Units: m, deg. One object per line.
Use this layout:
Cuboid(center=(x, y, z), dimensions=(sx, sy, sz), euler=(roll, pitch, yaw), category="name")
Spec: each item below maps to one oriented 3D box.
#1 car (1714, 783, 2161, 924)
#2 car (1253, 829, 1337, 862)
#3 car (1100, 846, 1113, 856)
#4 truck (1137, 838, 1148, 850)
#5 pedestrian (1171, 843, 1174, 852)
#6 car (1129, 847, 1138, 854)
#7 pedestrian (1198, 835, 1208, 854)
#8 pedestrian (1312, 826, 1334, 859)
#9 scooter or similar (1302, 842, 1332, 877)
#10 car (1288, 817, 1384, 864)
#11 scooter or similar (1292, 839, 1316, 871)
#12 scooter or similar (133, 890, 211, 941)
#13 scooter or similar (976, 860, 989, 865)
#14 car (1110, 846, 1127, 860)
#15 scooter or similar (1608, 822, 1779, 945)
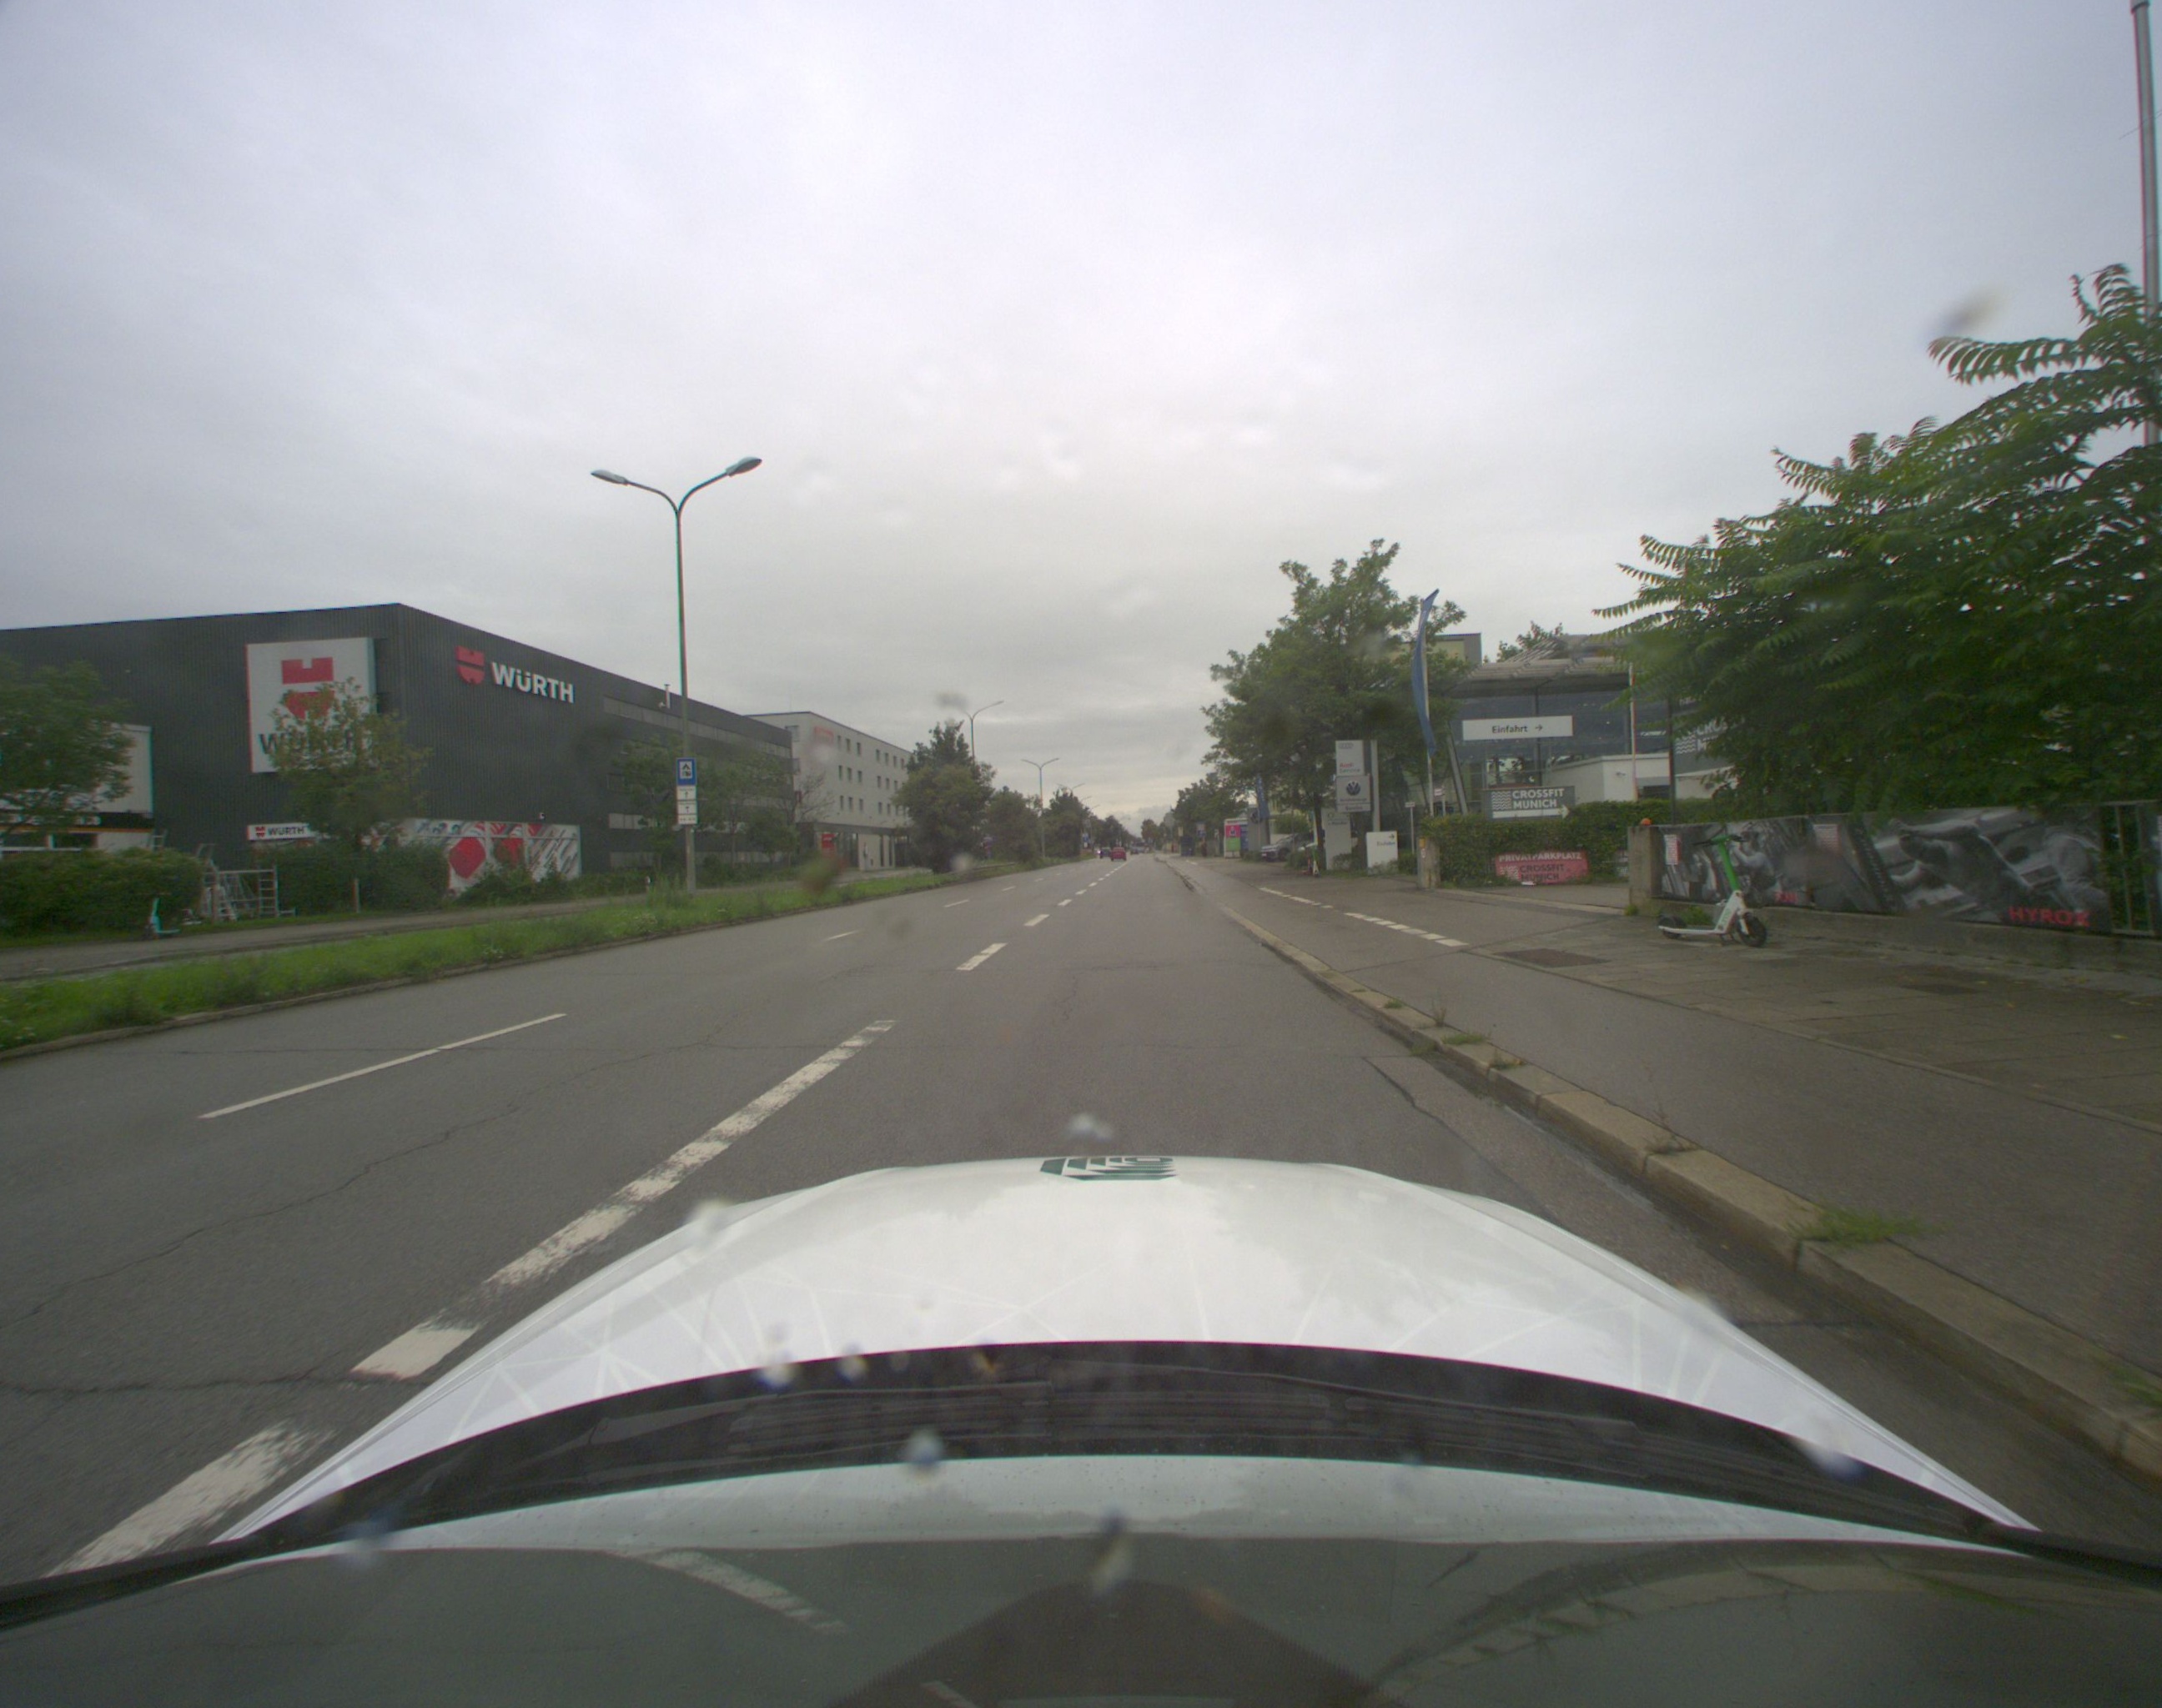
Cuboid(center=(10.746, -0.008, 10.291), dimensions=(3.996, 1.460, 1.795), euler=(-3, 0, 4), category="car")
Cuboid(center=(13.276, -0.524, 50.540), dimensions=(4.600, 1.706, 1.996), euler=(-4, -1, -17), category="car")
Cuboid(center=(3.942, -0.538, 126.294), dimensions=(1.796, 1.432, 4.003), euler=(-3, 0, 3), category="car")
Cuboid(center=(17.205, -2.790, 228.805), dimensions=(2.957, 3.285, 7.922), euler=(-2, 0, 3), category="truck")
Cuboid(center=(18.101, -1.319, 161.324), dimensions=(0.481, 1.636, 0.591), euler=(-2, 0, 4), category="pedestrian")
Cuboid(center=(11.282, -0.699, 175.298), dimensions=(1.796, 1.432, 4.003), euler=(-2, 0, 3), category="car")
Cuboid(center=(11.915, -0.927, 79.493), dimensions=(0.756, 1.728, 0.895), euler=(-6, 0, 0), category="pedestrian")
Cuboid(center=(12.981, -0.618, 43.689), dimensions=(0.811, 1.776, 0.708), euler=(-2, 0, -40), category="pedestrian")
Cuboid(center=(8.720, 0.207, 30.141), dimensions=(0.495, 1.204, 1.427), euler=(-5, 0, -5), category="scooter or similar")
Cuboid(center=(13.046, -0.673, 41.682), dimensions=(4.207, 2.013, 1.975), euler=(-5, -1, 28), category="car")
Cuboid(center=(8.855, 0.019, 32.401), dimensions=(0.494, 1.204, 1.430), euler=(-5, 1, 2), category="scooter or similar")
Cuboid(center=(-24.124, 1.609, 21.641), dimensions=(0.443, 1.227, 1.388), euler=(-2, 0, 3), category="scooter or similar")
Cuboid(center=(-14.356, 1.302, 118.957), dimensions=(1.462, 0.585, 2.321), euler=(-3, -3, 2), category="scooter or similar")
Cuboid(center=(4.569, -0.098, 99.085), dimensions=(1.854, 1.618, 4.005), euler=(-2, 0, 4), category="car")
Cuboid(center=(6.762, 0.315, 9.101), dimensions=(0.397, 1.223, 1.635), euler=(-5, -1, -8), category="scooter or similar")
